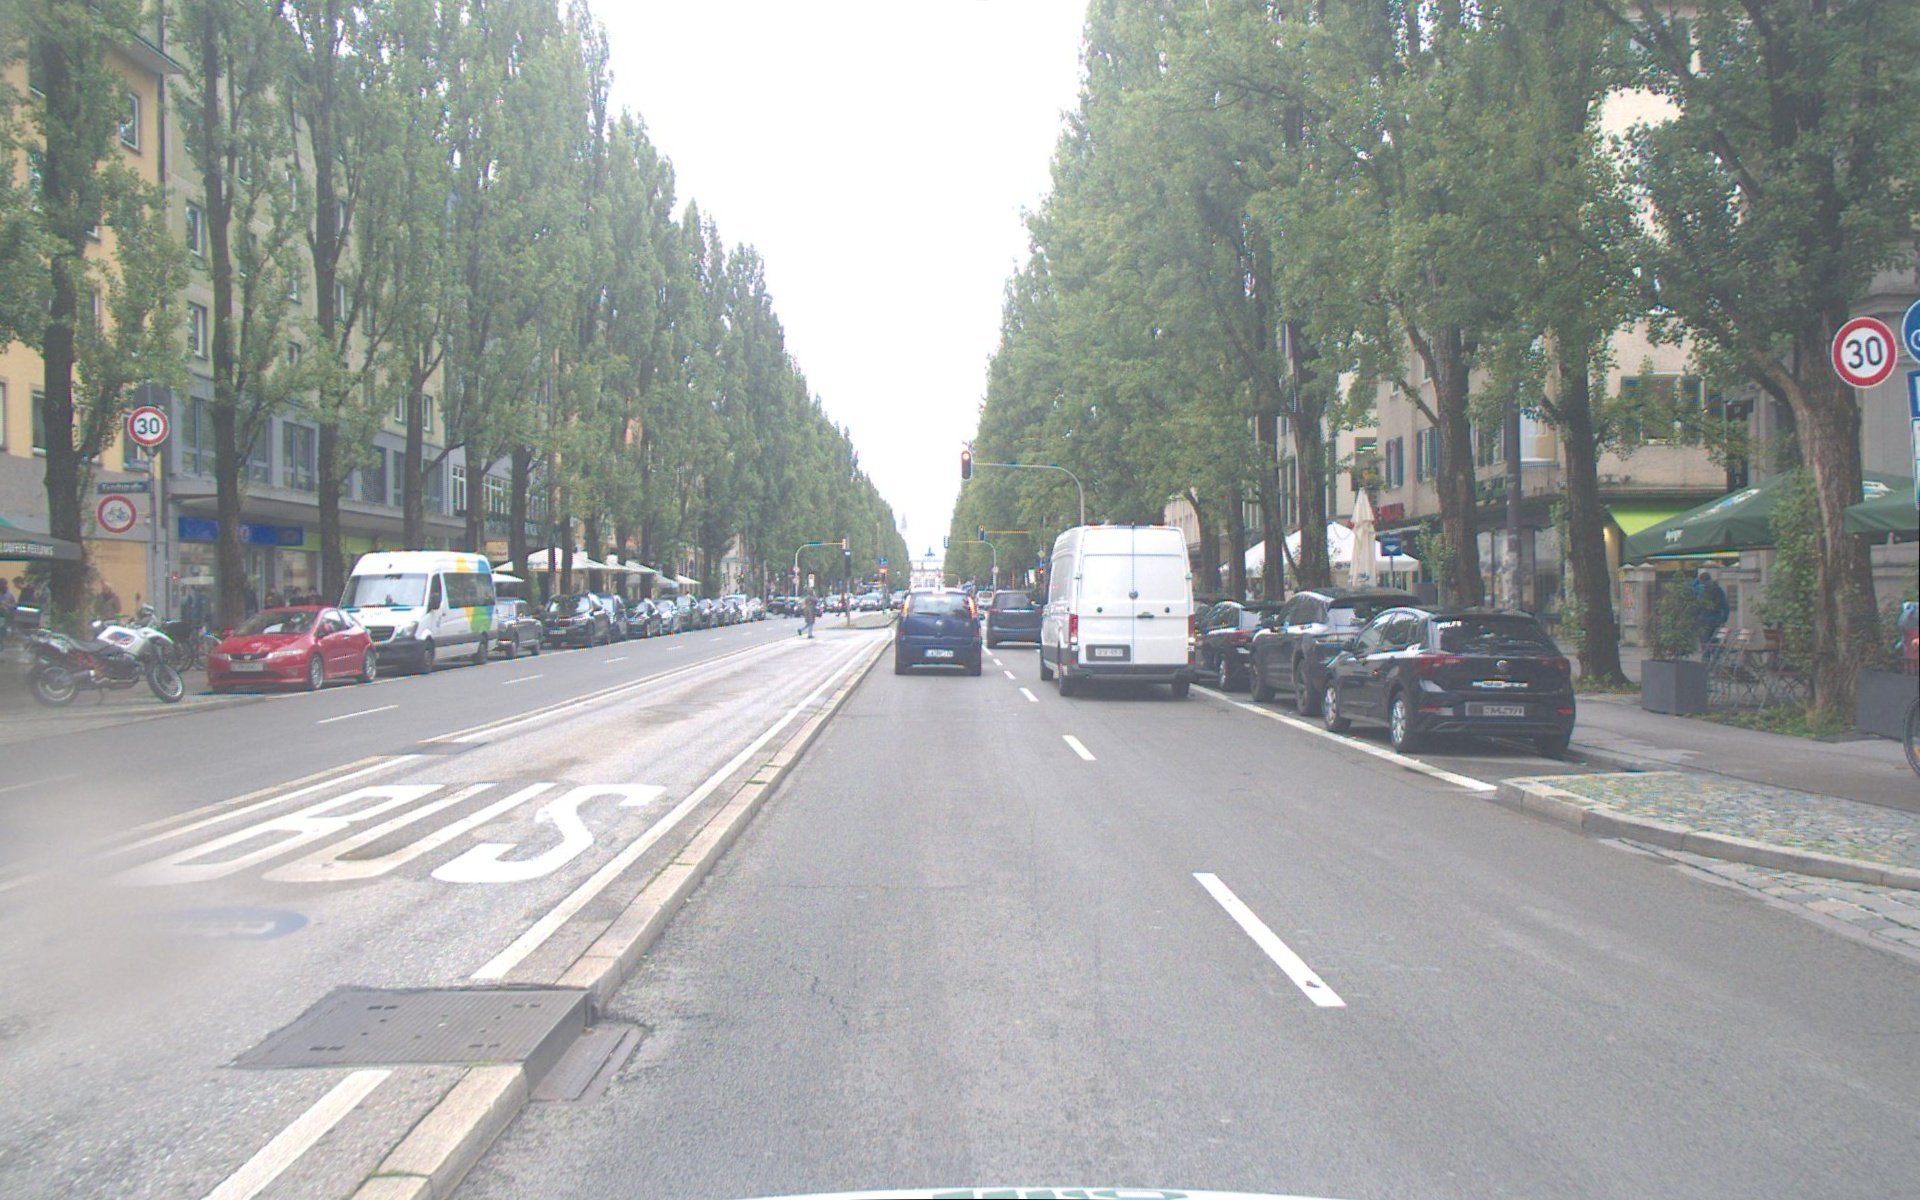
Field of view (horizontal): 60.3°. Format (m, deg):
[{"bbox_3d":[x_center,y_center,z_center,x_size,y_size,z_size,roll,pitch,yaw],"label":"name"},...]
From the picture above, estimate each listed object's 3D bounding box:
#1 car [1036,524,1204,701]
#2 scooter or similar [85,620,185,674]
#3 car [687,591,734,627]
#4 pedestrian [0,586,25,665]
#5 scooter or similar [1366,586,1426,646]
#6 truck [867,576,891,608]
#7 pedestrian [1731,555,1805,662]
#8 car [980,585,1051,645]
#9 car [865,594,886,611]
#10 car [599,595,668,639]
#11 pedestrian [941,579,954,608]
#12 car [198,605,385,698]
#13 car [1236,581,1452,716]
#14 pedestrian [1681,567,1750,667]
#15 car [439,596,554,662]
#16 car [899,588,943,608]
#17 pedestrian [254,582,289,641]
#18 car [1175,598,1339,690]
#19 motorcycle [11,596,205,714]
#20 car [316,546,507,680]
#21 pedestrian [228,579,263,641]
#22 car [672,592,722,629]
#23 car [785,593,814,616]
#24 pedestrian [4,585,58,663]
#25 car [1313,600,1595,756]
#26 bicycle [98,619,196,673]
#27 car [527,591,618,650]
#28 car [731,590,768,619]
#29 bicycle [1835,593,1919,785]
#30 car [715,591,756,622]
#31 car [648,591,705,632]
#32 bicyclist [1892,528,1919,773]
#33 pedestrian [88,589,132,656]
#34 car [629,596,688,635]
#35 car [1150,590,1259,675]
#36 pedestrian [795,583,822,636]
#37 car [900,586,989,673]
[{"bbox_3d":[2.469,0.160,27.248,2.021,2.536,6.729,0,0,-1],"label":"car"},{"bbox_3d":[-16.497,0.937,33.078,1.738,1.044,0.421,-1,0,-4],"label":"scooter or similar"},{"bbox_3d":[-12.836,0.441,85.265,1.828,1.694,4.119,-2,0,-1],"label":"car"},{"bbox_3d":[-20.530,0.547,35.406,0.683,1.664,0.564,-1,0,23],"label":"pedestrian"},{"bbox_3d":[10.934,0.388,41.578,0.624,1.400,2.493,-2,1,-5],"label":"scooter or similar"},{"bbox_3d":[-8.756,-0.860,179.895,2.334,3.405,7.109,-1,0,-1],"label":"truck"},{"bbox_3d":[14.026,0.139,28.720,0.759,1.827,0.872,0,0,-18],"label":"pedestrian"},{"bbox_3d":[1.552,0.415,47.678,1.858,1.650,3.999,0,0,-1],"label":"car"},{"bbox_3d":[-7.674,0.240,150.412,1.699,1.491,3.364,-1,0,-1],"label":"car"},{"bbox_3d":[-12.362,0.626,62.865,1.762,1.514,4.349,-2,0,-1],"label":"car"},{"bbox_3d":[-0.822,-0.389,107.038,0.707,1.859,0.885,1,-1,-11],"label":"pedestrian"},{"bbox_3d":[-11.896,0.866,29.743,1.702,1.444,4.147,-2,0,-1],"label":"car"},{"bbox_3d":[5.167,0.604,22.869,1.767,1.666,4.445,1,0,-3],"label":"car"},{"bbox_3d":[13.080,0.283,28.662,0.781,1.707,0.877,0,0,-1],"label":"pedestrian"},{"bbox_3d":[-12.182,0.716,43.771,1.828,1.579,4.413,-2,0,-1],"label":"car"},{"bbox_3d":[-3.265,-0.180,137.795,3.311,1.588,1.727,-1,0,-25],"label":"car"},{"bbox_3d":[-20.689,0.342,49.693,0.683,1.729,0.727,-1,0,3],"label":"pedestrian"},{"bbox_3d":[4.967,0.696,28.204,1.676,1.418,4.339,0,0,-5],"label":"car"},{"bbox_3d":[-11.974,0.737,23.311,2.329,1.591,0.703,0,0,-44],"label":"motorcycle"},{"bbox_3d":[-11.958,0.243,36.677,1.965,2.612,6.910,-2,0,-1],"label":"car"},{"bbox_3d":[-21.454,0.288,49.688,0.683,1.826,0.727,-1,0,3],"label":"pedestrian"},{"bbox_3d":[-12.760,0.478,80.444,1.828,1.694,4.119,-2,0,-1],"label":"car"},{"bbox_3d":[-11.487,0.308,118.899,1.663,1.488,4.712,-2,0,-1],"label":"car"},{"bbox_3d":[-20.137,0.514,35.866,0.683,1.664,0.727,-1,0,23],"label":"pedestrian"},{"bbox_3d":[5.107,0.738,17.632,1.660,1.441,3.949,0,0,-3],"label":"car"},{"bbox_3d":[-16.562,0.939,33.714,1.738,1.044,0.421,-1,0,-4],"label":"bicycle"},{"bbox_3d":[-12.134,0.605,52.056,1.828,1.693,4.610,-2,0,-1],"label":"car"},{"bbox_3d":[-13.112,0.279,103.324,1.828,1.694,4.119,-2,0,-1],"label":"car"},{"bbox_3d":[7.402,0.653,11.944,0.757,1.372,2.448,-3,0,-2],"label":"bicycle"},{"bbox_3d":[-13.018,0.343,96.049,1.828,1.694,4.119,-2,0,-1],"label":"car"},{"bbox_3d":[-12.594,0.474,73.715,1.828,1.694,4.399,-2,0,-1],"label":"car"},{"bbox_3d":[7.399,0.368,12.006,0.752,1.797,0.885,-1,0,-2],"label":"bicyclist"},{"bbox_3d":[-21.264,0.553,41.380,0.683,1.664,0.727,-1,0,1],"label":"pedestrian"},{"bbox_3d":[-12.442,0.620,68.429,1.698,1.450,4.142,-2,0,-1],"label":"car"},{"bbox_3d":[4.676,0.598,31.946,1.560,1.544,2.728,1,0,-3],"label":"car"},{"bbox_3d":[-4.902,0.310,53.607,0.843,1.714,0.626,0,0,-4],"label":"pedestrian"},{"bbox_3d":[-0.312,0.536,32.367,1.637,1.596,3.999,0,0,-1],"label":"car"}]
